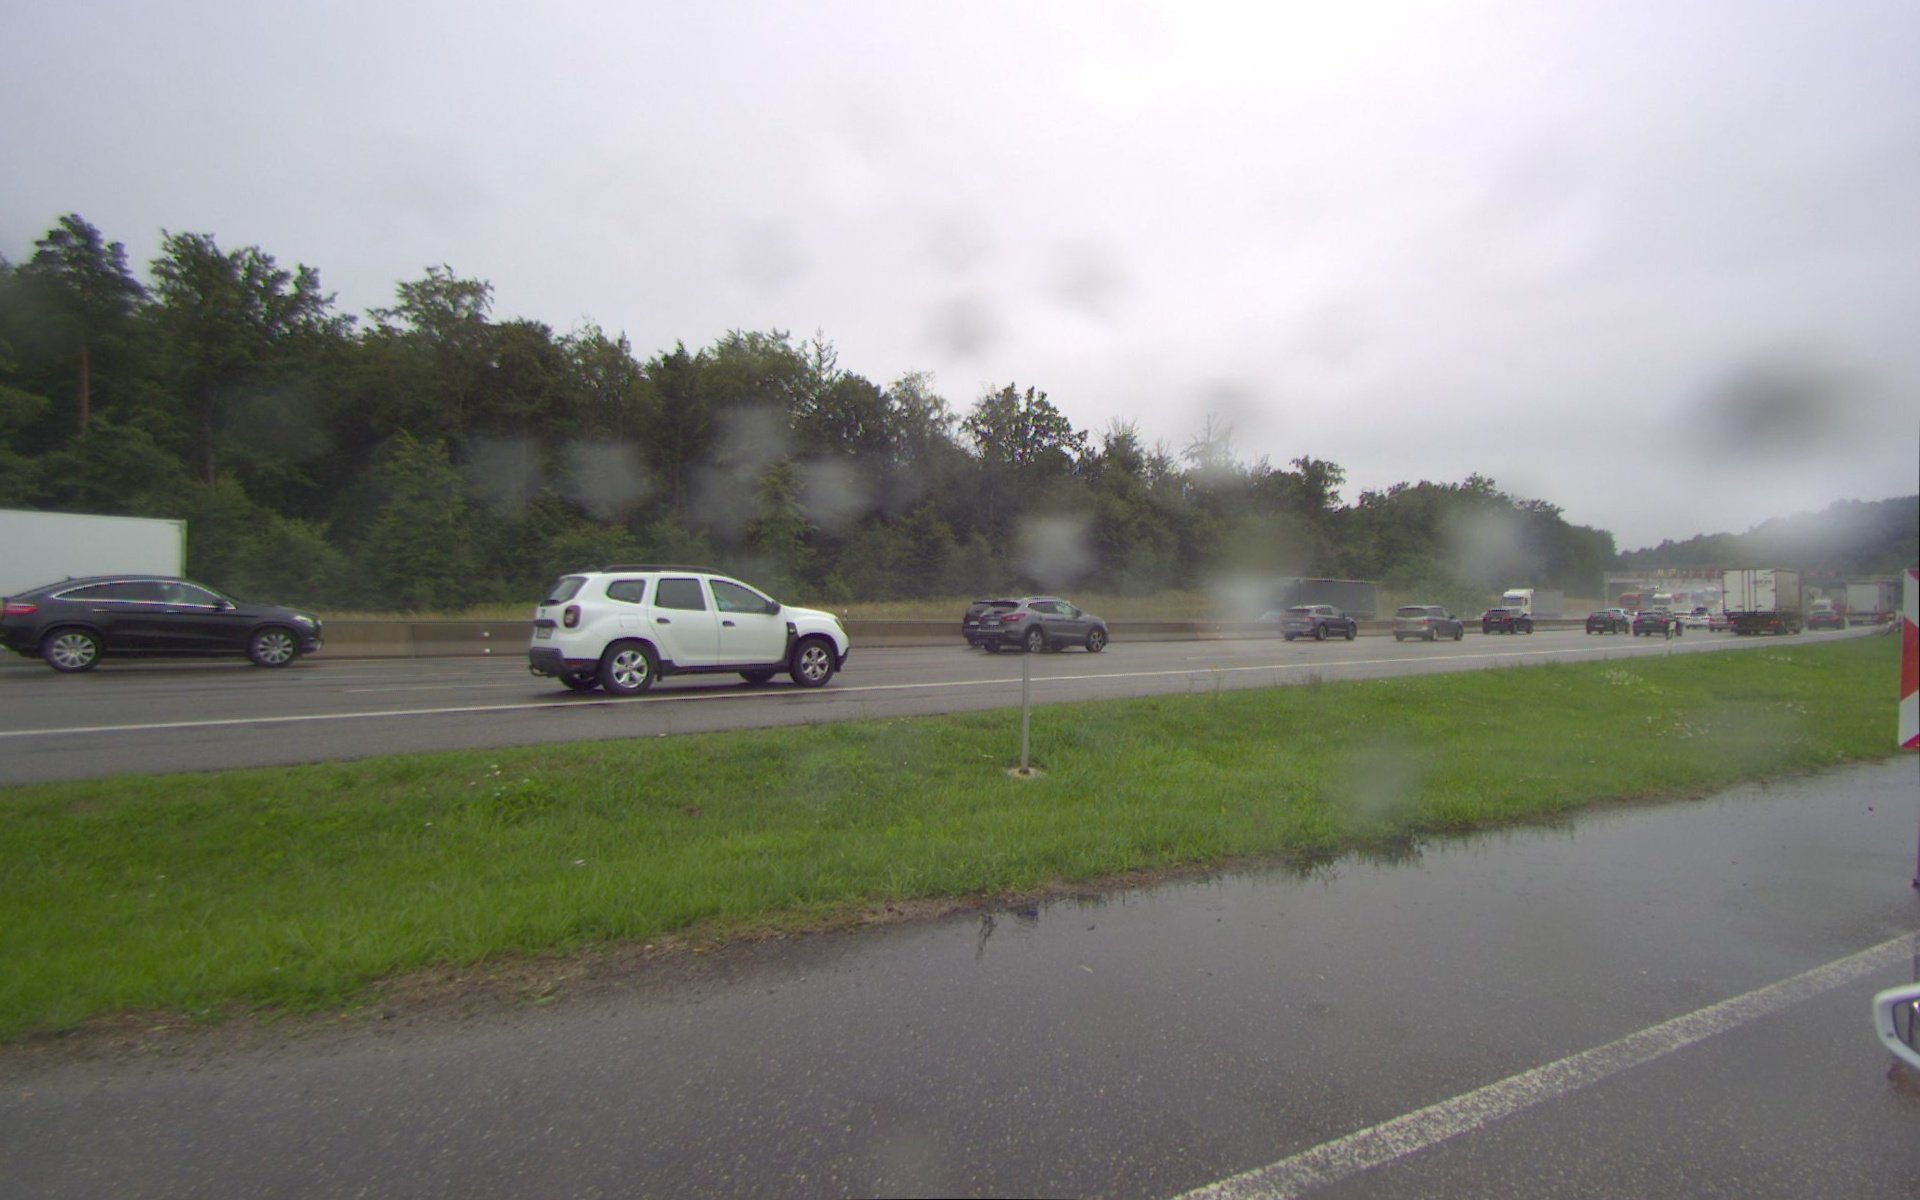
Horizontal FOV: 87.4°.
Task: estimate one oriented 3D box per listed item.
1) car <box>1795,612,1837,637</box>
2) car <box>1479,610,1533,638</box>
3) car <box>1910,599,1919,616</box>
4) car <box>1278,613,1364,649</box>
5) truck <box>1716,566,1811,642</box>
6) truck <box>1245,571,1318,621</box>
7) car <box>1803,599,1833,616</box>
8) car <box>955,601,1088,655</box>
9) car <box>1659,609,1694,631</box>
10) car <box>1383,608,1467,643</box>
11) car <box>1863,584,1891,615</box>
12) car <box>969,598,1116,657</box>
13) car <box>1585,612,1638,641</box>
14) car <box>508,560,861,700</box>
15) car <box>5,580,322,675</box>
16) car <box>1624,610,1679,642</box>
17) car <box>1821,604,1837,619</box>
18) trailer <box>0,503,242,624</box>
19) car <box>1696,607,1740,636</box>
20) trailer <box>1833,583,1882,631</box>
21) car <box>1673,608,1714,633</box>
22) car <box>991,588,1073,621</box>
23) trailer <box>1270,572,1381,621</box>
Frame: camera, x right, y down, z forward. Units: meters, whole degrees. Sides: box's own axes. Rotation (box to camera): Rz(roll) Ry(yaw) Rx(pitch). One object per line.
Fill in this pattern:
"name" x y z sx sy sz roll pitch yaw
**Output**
"car" 66.774 1.869 78.318 3.970 1.840 1.975 1 0 -42
"car" 34.869 1.537 64.058 4.068 1.759 1.760 1 -1 -41
"car" 125.244 1.019 130.780 1.971 2.041 3.979 5 3 41
"car" 16.767 1.424 46.557 4.421 1.594 1.705 1 -1 -39
"truck" 50.459 0.380 62.904 11.755 4.349 2.823 2 -2 -42
"truck" 25.648 -0.329 80.043 5.603 3.797 3.013 0 2 -42
"car" 99.571 0.872 116.580 3.967 1.840 1.977 1 1 -40
"car" 2.108 0.923 33.660 4.426 1.685 1.908 1 -1 -42
"car" 68.518 1.924 95.999 3.970 2.040 1.975 1 -1 -42
"car" 21.407 1.162 46.203 4.297 1.547 1.774 1 -1 -38
"car" 112.721 -0.040 123.438 2.347 3.532 4.787 5 3 43
"car" 2.436 0.785 29.001 4.298 1.595 1.704 1 -1 -39
"car" 41.547 1.690 63.998 4.067 1.759 1.760 1 -2 -41
"car" -3.598 0.391 13.589 4.288 1.607 1.771 1 -2 -40
"car" -14.757 0.518 18.891 4.488 1.596 1.690 1 -2 -40
"car" 39.817 1.493 57.802 3.817 1.759 1.760 1 -1 -41
"car" 135.862 1.782 157.096 1.655 2.040 3.979 9 5 41
"trailer" -29.886 -1.103 30.134 13.381 3.544 2.625 1 0 -41
"car" 54.886 1.576 72.690 4.304 1.997 1.771 1 0 -43
"trailer" 91.242 0.800 102.012 3.510 4.673 12.050 0 -1 43
"car" 61.566 1.714 84.250 3.970 2.041 1.975 1 1 -42
"car" 4.404 0.276 60.921 4.885 1.860 1.977 1 1 -40
"trailer" 31.186 -0.313 85.172 13.309 3.863 2.999 0 2 -42
